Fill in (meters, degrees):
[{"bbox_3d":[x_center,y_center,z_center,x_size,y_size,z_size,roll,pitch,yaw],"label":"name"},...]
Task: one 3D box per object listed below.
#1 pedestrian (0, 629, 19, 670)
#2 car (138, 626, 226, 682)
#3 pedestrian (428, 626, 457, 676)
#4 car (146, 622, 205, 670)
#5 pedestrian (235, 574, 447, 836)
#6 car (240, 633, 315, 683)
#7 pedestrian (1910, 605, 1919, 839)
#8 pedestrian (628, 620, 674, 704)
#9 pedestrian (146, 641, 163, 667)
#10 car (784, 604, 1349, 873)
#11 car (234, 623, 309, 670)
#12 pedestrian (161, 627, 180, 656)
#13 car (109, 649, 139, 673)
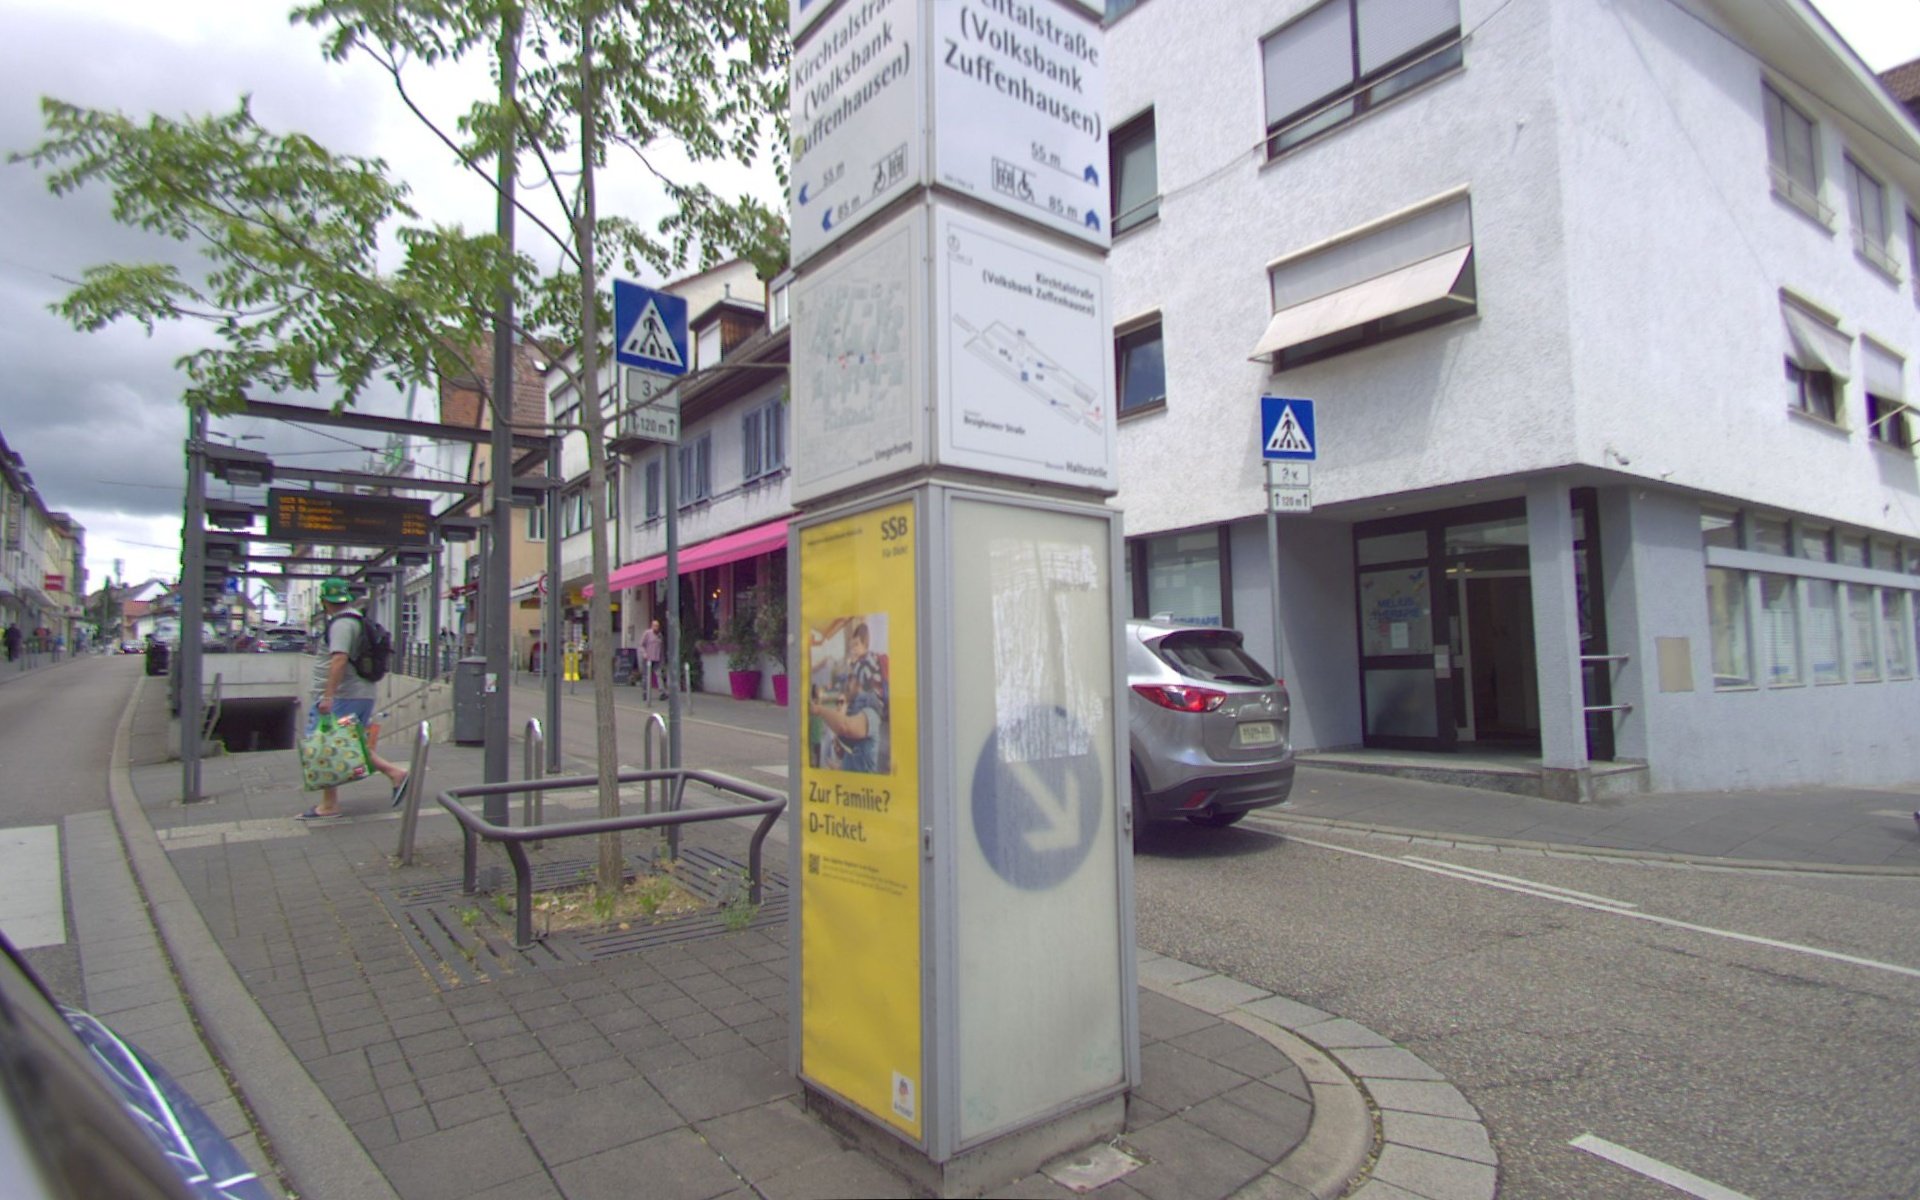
[{"bbox_3d":[-40.928,2.126,43.490,0.653,1.719,0.781,3,-3,-41],"label":"pedestrian"},{"bbox_3d":[-24.352,1.649,31.615,1.969,1.578,4.438,0,-2,-41],"label":"car"},{"bbox_3d":[-18.378,1.805,35.942,0.737,1.727,0.665,2,-3,-38],"label":"pedestrian"},{"bbox_3d":[-28.402,1.650,36.598,1.553,1.622,3.539,2,-3,-39],"label":"car"},{"bbox_3d":[-4.625,0.747,7.616,0.914,1.801,0.980,-1,-3,22],"label":"pedestrian"},{"bbox_3d":[-22.589,1.882,33.438,1.677,1.559,3.905,2,-3,-39],"label":"car"},{"bbox_3d":[7.716,0.923,7.549,0.629,1.752,0.837,4,-4,-42],"label":"pedestrian"},{"bbox_3d":[-6.613,1.308,21.647,0.685,1.753,0.826,2,-3,-37],"label":"pedestrian"},{"bbox_3d":[-48.408,3.265,60.838,0.706,1.540,0.653,-2,-3,44],"label":"pedestrian"},{"bbox_3d":[0.670,0.928,8.364,4.354,1.633,1.942,-2,-3,43],"label":"car"},{"bbox_3d":[-25.906,1.713,37.997,1.968,1.601,4.502,0,-2,-39],"label":"car"},{"bbox_3d":[-48.316,2.532,61.920,0.851,1.788,0.751,-2,-3,44],"label":"pedestrian"},{"bbox_3d":[-75.057,5.449,90.906,1.968,2.029,4.007,2,-3,-39],"label":"car"}]
